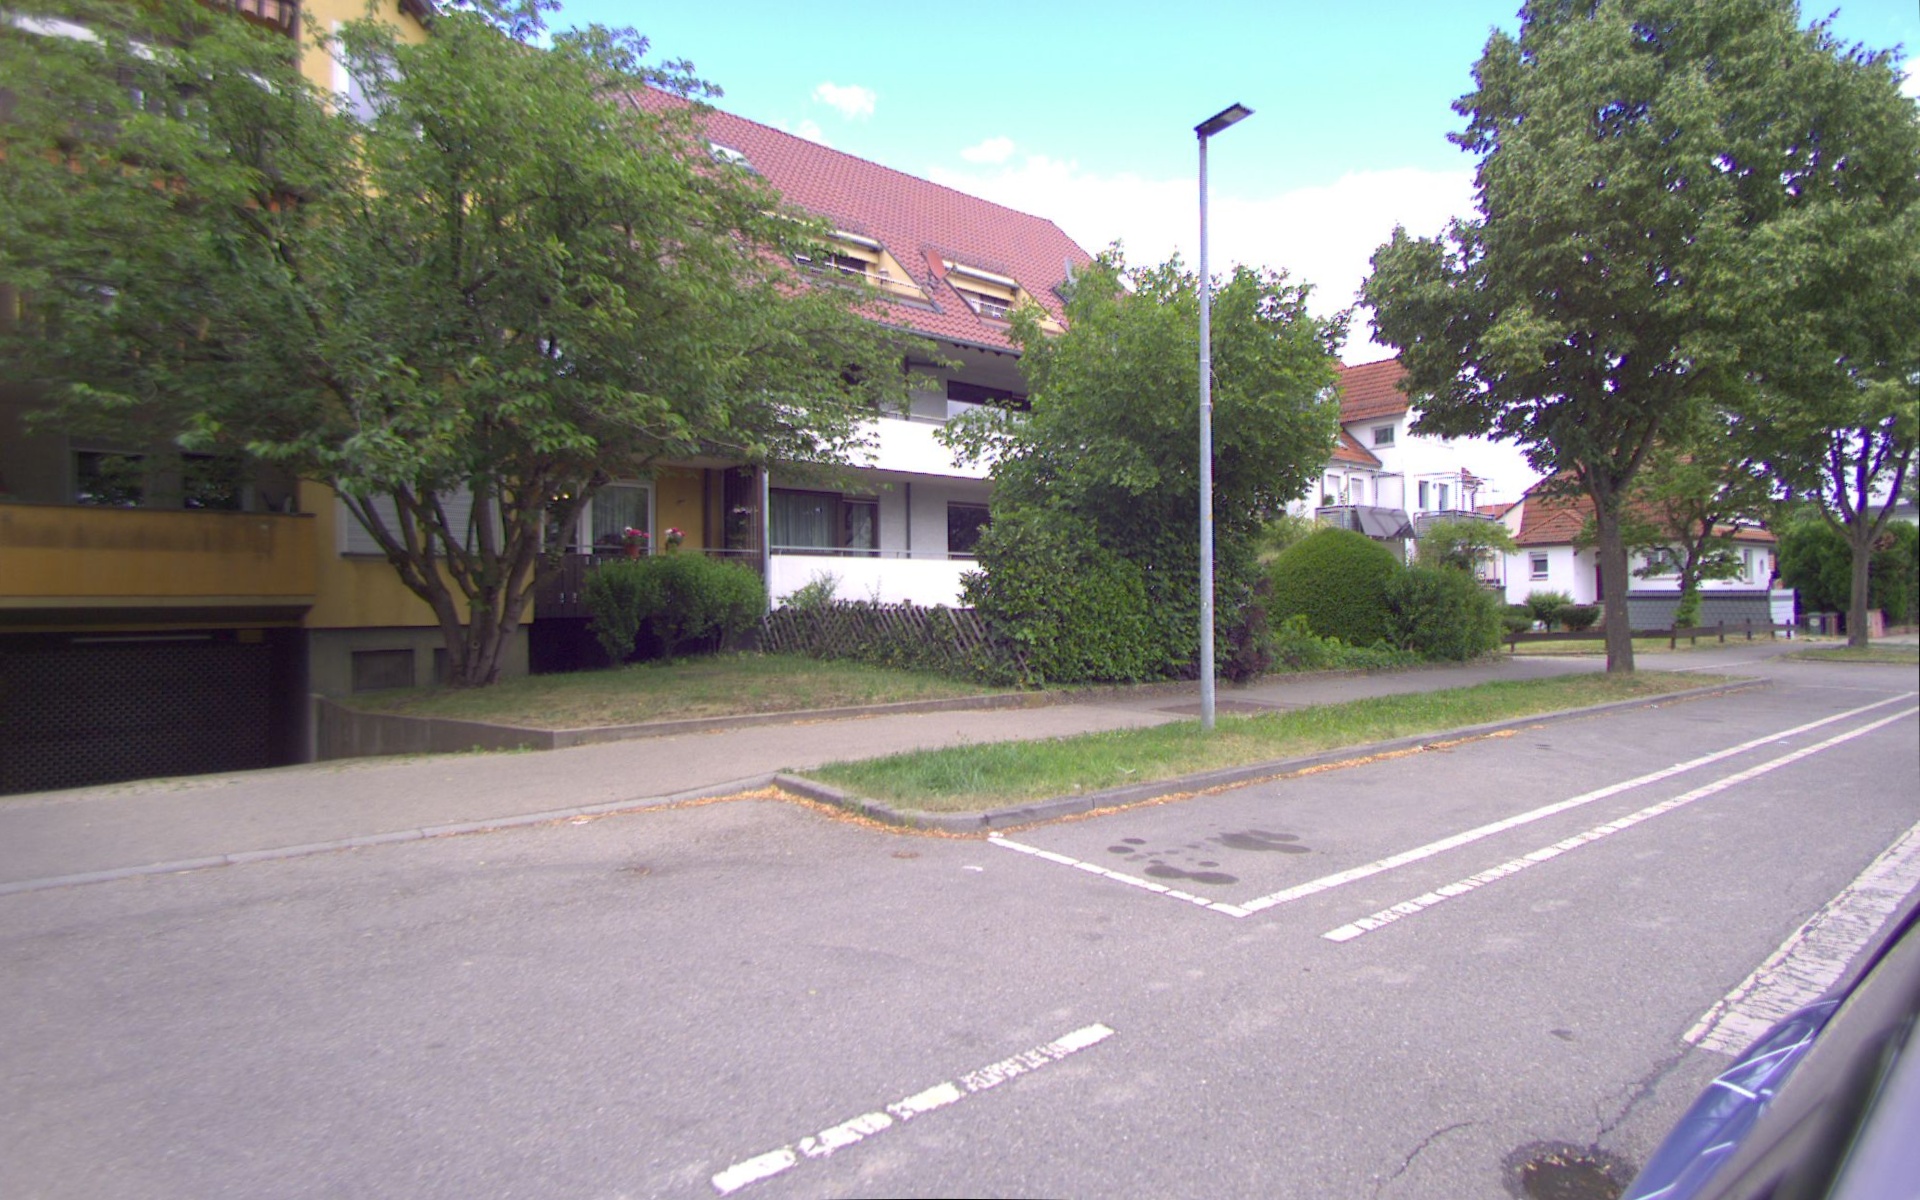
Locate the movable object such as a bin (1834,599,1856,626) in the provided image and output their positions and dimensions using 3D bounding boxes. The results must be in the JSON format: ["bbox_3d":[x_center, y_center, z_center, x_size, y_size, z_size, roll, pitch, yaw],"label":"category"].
[{"bbox_3d":[35.527,0.503,40.628,0.508,1.058,0.501,0,0,-23],"label":"movable object such as a bin"}]

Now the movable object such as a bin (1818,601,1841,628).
[{"bbox_3d":[35.323,0.580,41.127,0.508,1.072,0.542,0,0,-23],"label":"movable object such as a bin"}]
